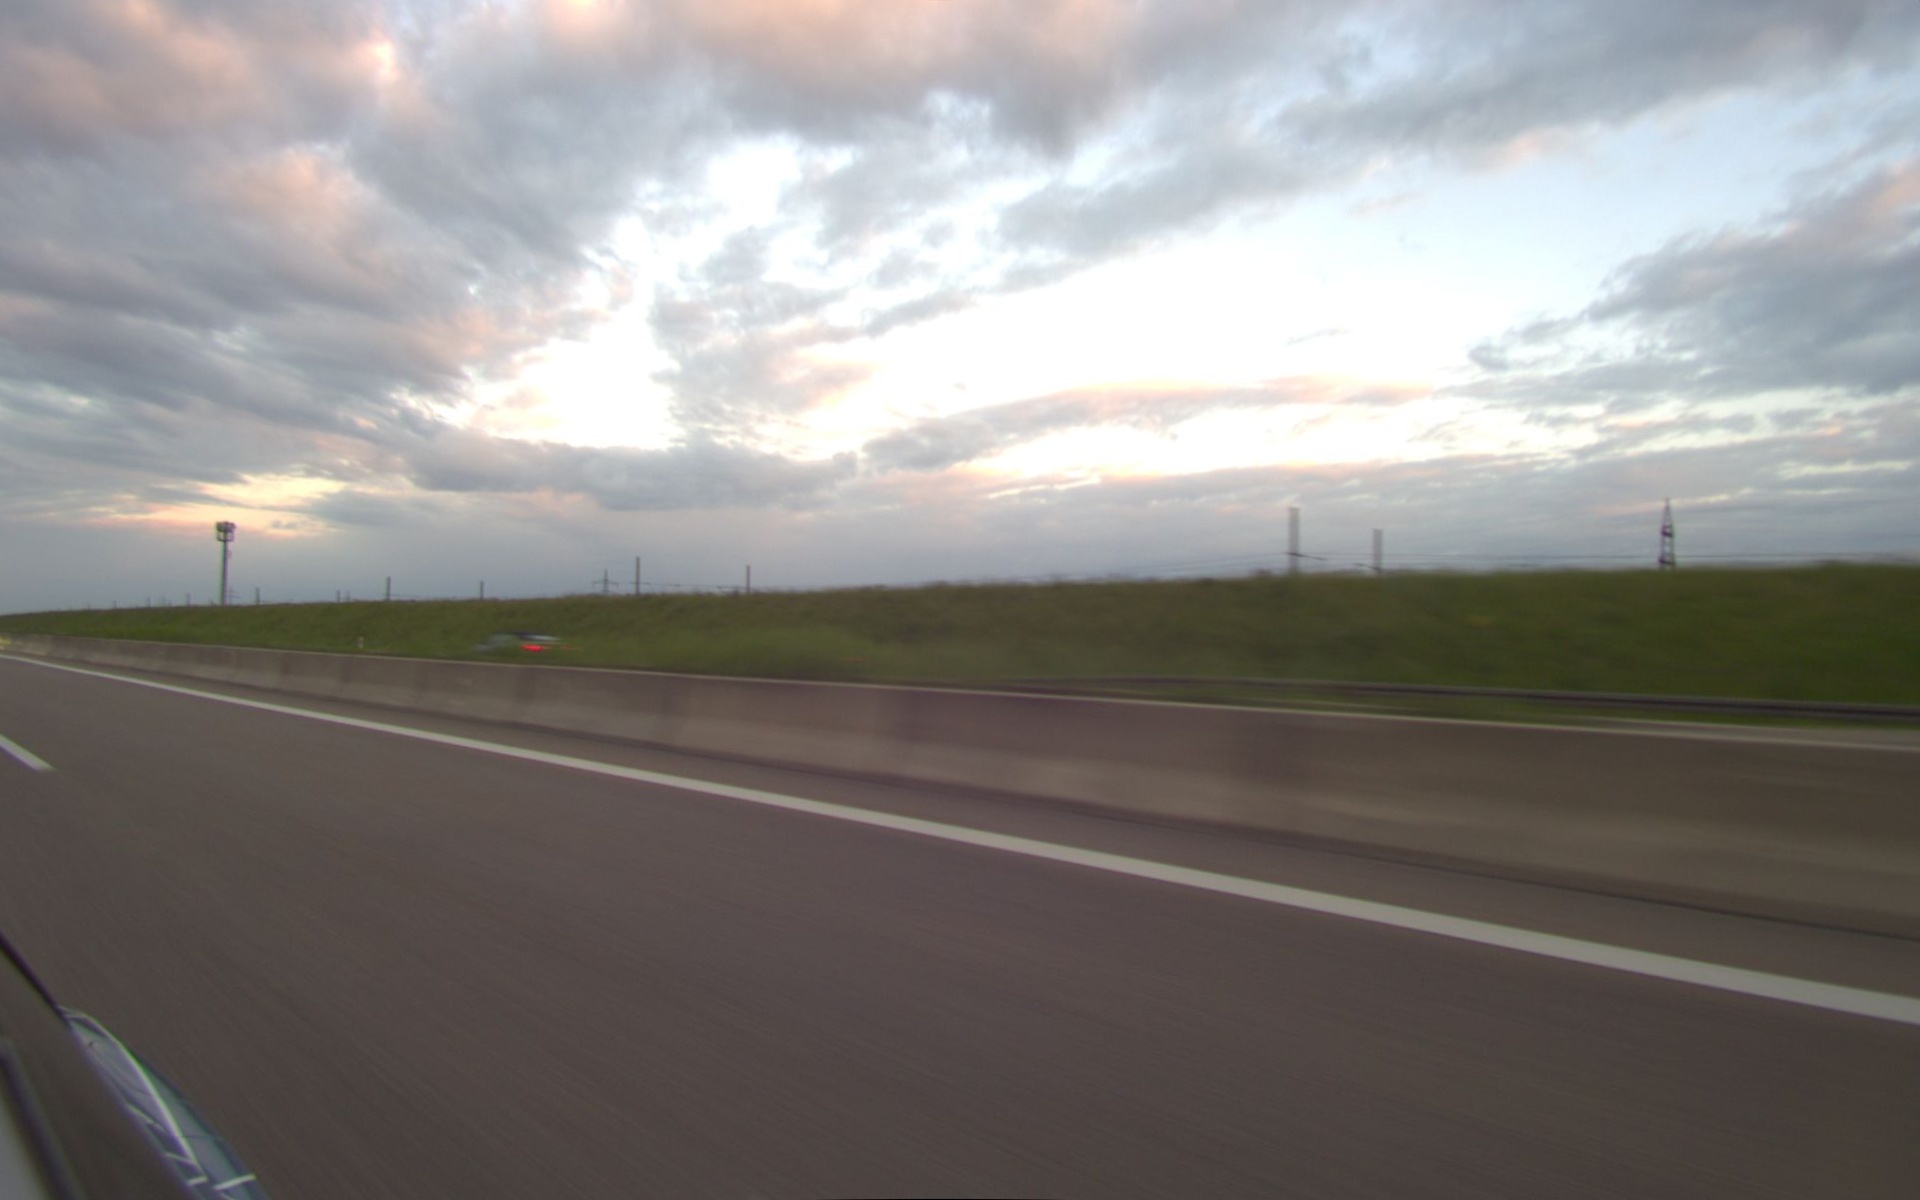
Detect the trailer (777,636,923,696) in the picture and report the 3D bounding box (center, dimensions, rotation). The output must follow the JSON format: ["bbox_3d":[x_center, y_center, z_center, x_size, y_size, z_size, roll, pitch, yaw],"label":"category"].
[{"bbox_3d":[-3.029,1.726,27.407,3.998,1.475,1.699,-1,-3,42],"label":"trailer"}]

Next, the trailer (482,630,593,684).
[{"bbox_3d":[-13.365,1.757,31.930,3.927,1.564,1.667,-1,-3,41],"label":"trailer"}]
